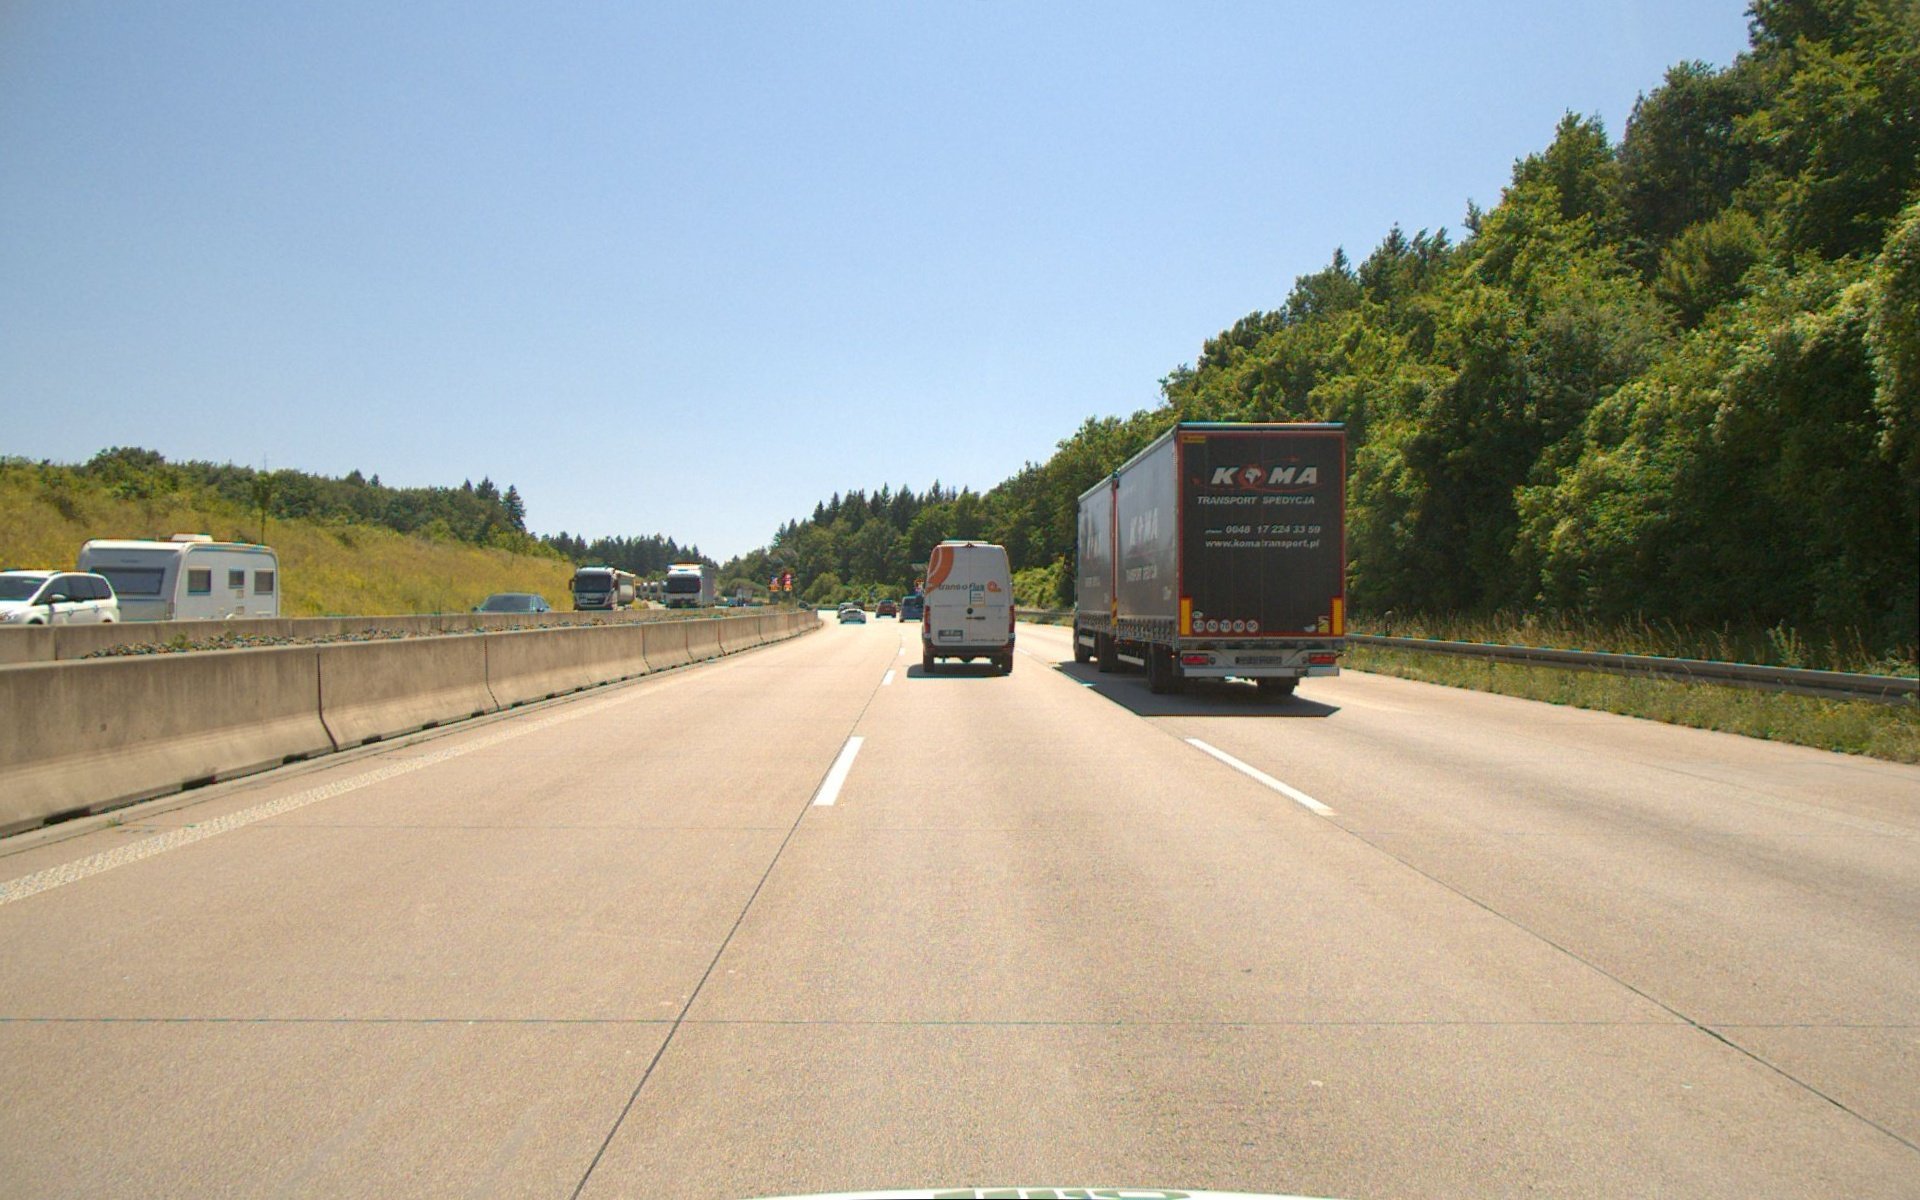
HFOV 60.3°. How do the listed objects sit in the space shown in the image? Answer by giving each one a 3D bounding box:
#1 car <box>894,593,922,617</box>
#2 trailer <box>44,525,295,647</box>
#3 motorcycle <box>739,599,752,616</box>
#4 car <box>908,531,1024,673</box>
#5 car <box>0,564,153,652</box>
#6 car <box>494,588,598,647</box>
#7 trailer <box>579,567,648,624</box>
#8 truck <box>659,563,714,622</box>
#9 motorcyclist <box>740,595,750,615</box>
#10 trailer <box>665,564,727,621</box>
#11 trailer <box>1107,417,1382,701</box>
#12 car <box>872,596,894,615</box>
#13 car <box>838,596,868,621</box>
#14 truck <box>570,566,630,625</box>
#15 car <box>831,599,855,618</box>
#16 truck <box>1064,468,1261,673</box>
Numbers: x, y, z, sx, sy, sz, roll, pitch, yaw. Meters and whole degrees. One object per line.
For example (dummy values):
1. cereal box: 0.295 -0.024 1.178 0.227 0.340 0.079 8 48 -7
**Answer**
1. car: -3.979 0.368 127.023 1.952 1.713 4.000 2 -1 1
2. trailer: -19.342 -0.311 41.095 2.553 2.677 7.779 1 0 -1
3. motorcycle: -20.172 0.681 155.743 0.988 1.577 2.482 0 0 -2
4. car: 0.033 0.028 36.685 2.182 2.894 5.450 0 0 -4
5. car: -19.097 0.137 34.473 1.953 1.689 5.372 1 0 -1
6. car: -11.715 0.482 47.029 1.953 1.545 3.999 1 0 -1
7. trailer: -22.386 -0.207 107.376 2.670 3.473 8.952 2 -1 -1
8. truck: -19.376 -0.499 117.562 3.098 4.001 5.832 2 -1 -3
9. motorcyclist: -20.233 0.479 155.849 0.802 1.906 1.491 0 0 -3
10. trailer: -19.823 -0.461 124.983 3.098 4.001 13.857 2 -1 -3
11. trailer: 4.518 -0.572 28.464 3.071 4.087 9.086 0 0 -1
12. car: -7.436 0.553 159.930 1.954 1.713 3.996 2 -1 -4
13. car: -7.735 0.617 119.672 1.953 1.713 3.999 2 -1 -1
14. truck: -22.258 -0.271 102.460 2.670 3.473 4.511 2 -1 -2
15. car: -11.225 0.828 158.640 1.957 1.713 3.991 2 -1 -9
16. truck: 4.379 -0.569 38.353 3.095 4.087 10.605 0 0 -1
